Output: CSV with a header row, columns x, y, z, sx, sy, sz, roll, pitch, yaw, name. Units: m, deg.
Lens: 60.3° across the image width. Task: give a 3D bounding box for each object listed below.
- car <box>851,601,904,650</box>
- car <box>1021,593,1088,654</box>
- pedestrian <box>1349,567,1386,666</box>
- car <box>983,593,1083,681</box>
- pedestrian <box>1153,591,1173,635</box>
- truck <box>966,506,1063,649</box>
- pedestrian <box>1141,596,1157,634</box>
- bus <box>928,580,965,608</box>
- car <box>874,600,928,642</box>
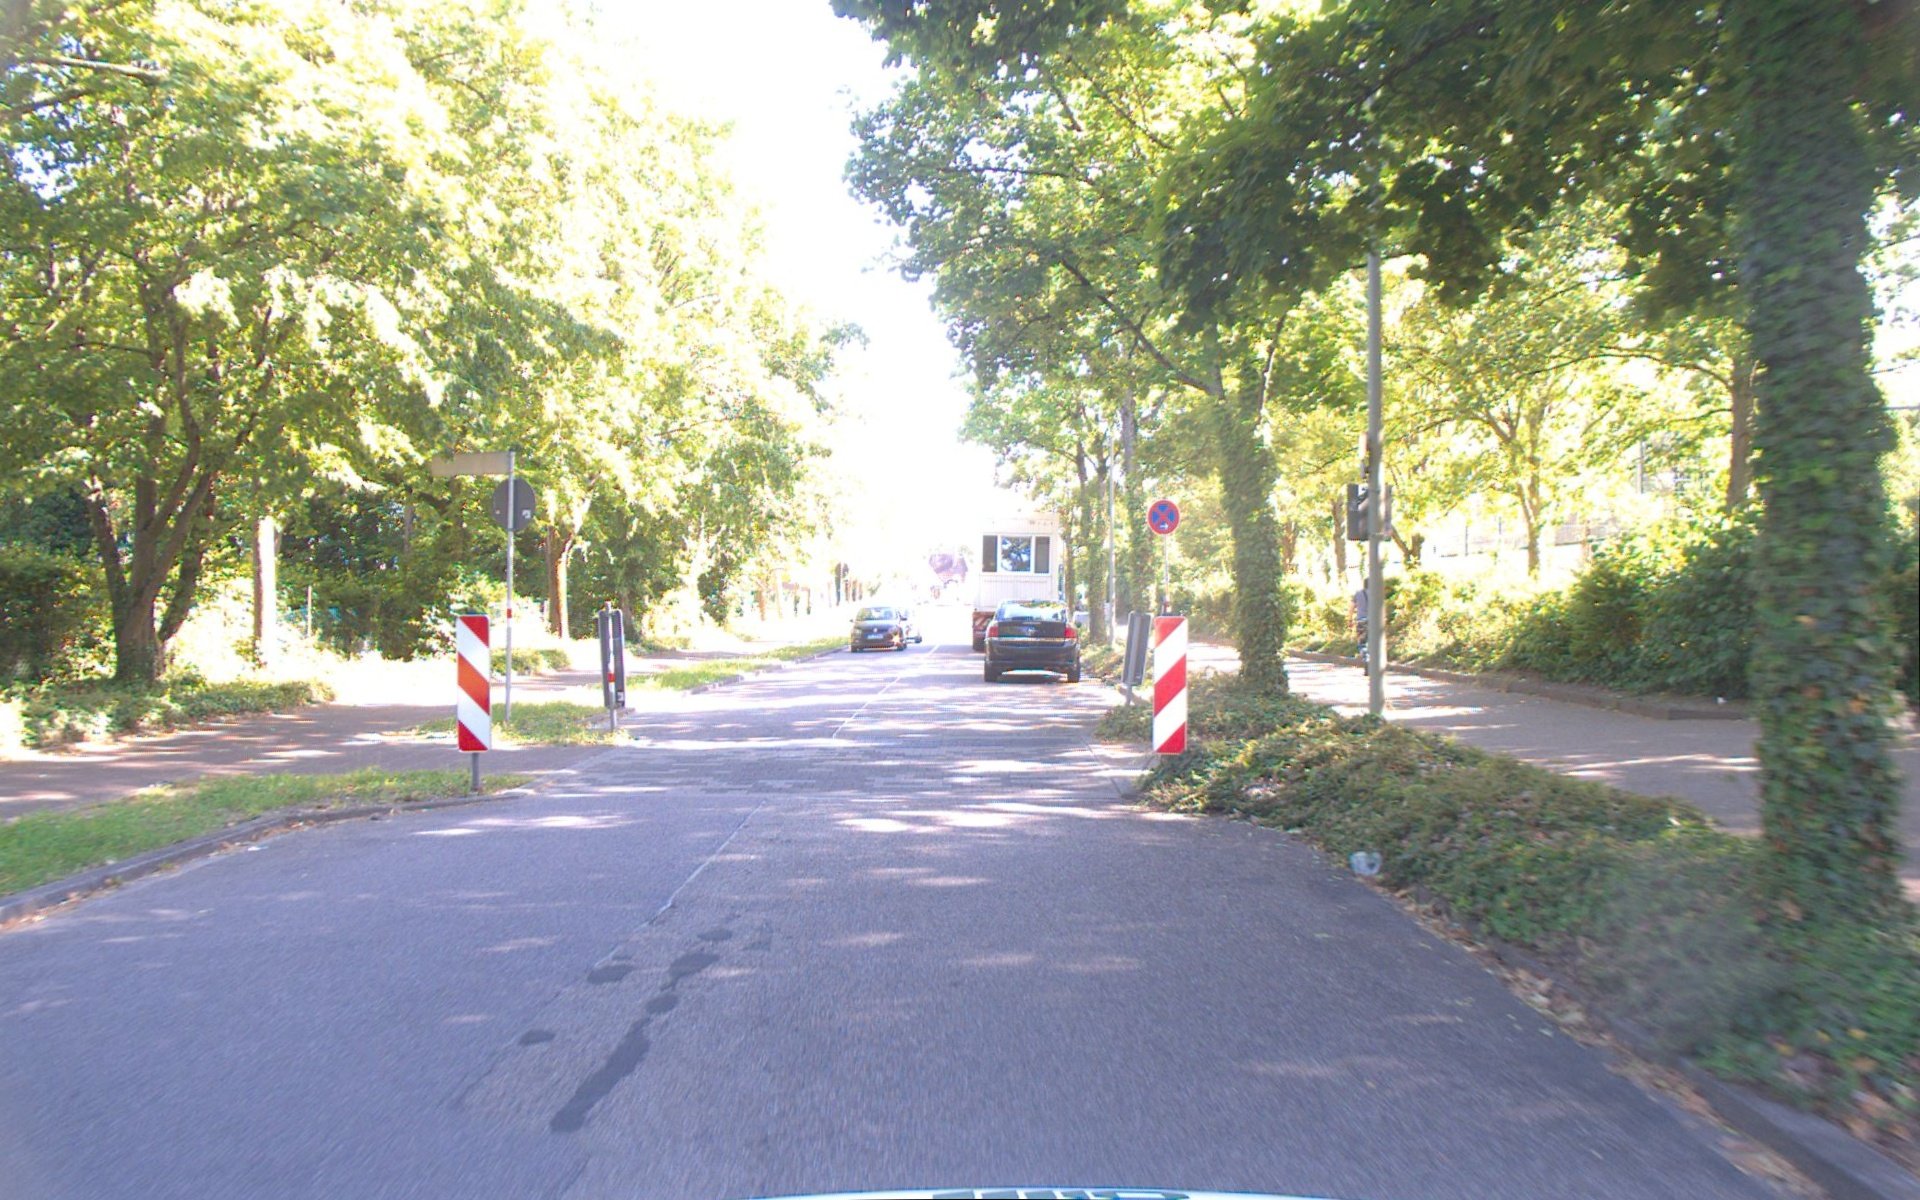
x,y,z,sx,sy,sz,roll,pitch,yaw,name
-2.597,0.790,52.600,1.568,1.451,3.650,-2,0,-2,car
2.436,0.569,42.919,1.606,1.445,4.002,-2,0,3,car
6.810,0.270,27.653,0.559,1.636,0.672,0,0,10,pedestrian
1.345,0.651,30.499,1.712,1.506,4.031,0,-1,3,car
8.780,0.565,71.529,0.684,1.844,0.700,-2,0,-2,pedestrian
1.595,-0.671,52.669,2.716,4.066,10.348,1,0,0,truck
8.199,0.660,71.724,0.586,1.639,0.600,-2,0,-2,pedestrian
-1.624,-0.757,207.742,3.980,3.407,9.804,-2,0,3,bus
-2.233,0.761,63.237,1.719,1.479,4.244,-2,0,2,car
